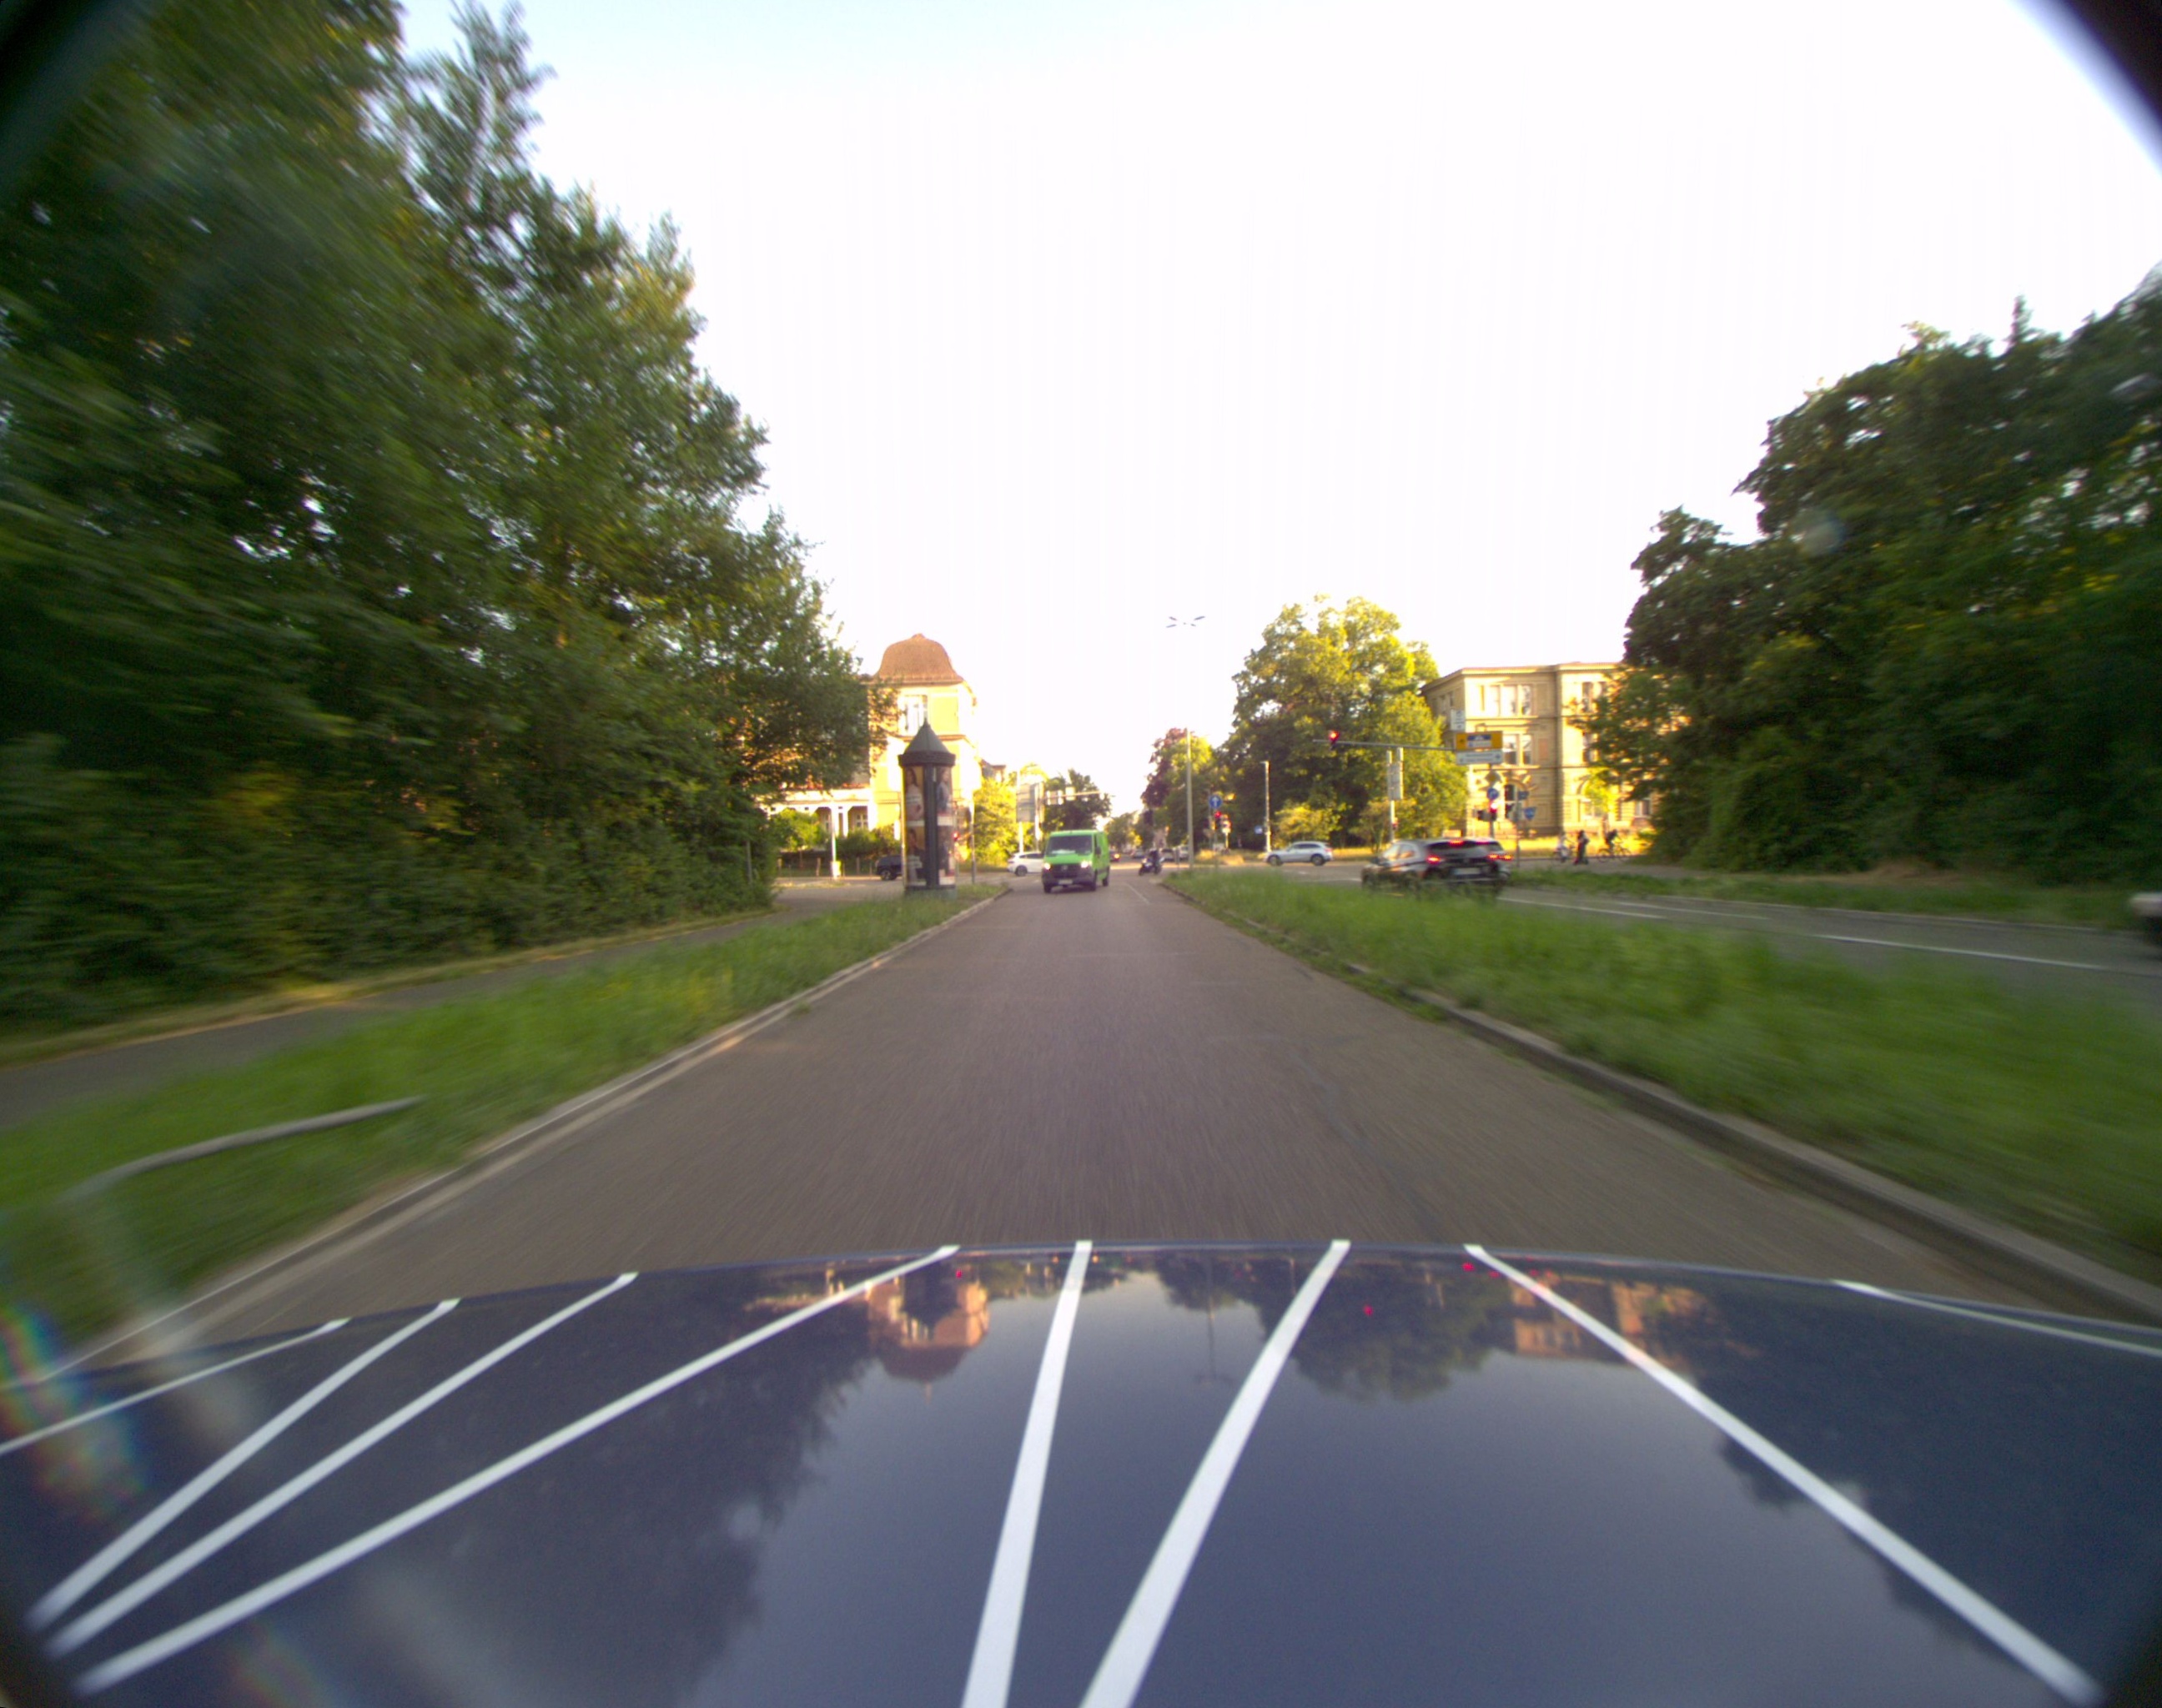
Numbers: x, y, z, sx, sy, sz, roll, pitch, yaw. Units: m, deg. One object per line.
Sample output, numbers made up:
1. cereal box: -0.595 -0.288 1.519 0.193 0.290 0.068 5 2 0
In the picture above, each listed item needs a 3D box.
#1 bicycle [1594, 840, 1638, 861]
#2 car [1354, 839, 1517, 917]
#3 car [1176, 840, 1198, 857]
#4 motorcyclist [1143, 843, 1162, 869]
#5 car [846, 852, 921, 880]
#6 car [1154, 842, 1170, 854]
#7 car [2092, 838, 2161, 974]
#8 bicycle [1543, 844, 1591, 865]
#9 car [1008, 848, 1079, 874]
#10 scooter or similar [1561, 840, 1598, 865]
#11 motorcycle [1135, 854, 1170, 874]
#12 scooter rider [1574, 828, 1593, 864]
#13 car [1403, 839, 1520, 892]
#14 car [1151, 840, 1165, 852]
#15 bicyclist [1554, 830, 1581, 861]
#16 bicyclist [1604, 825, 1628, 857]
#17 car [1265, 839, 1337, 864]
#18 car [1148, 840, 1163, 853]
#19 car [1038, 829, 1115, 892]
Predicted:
1. bicycle: 28.279 -0.186 40.196 1.824 1.057 0.700 -2 2 0
2. car: 8.173 0.469 18.046 1.818 1.618 4.450 0 1 0
3. car: 12.143 -0.676 87.514 1.861 1.835 4.120 -2 1 0
4. motorcyclist: 3.836 0.095 40.853 0.705 1.350 0.750 -2 1 -43
5. car: -11.704 0.688 45.235 3.997 1.527 1.683 -2 1 -1
6. car: 11.539 -0.895 108.632 1.936 1.633 4.000 -1 1 2
7. car: 12.602 0.581 6.660 1.827 1.471 4.232 0 1 0
8. bicycle: 24.256 0.012 37.950 2.016 1.001 0.772 -2 2 -10
9. car: -2.318 0.416 46.585 4.188 1.457 1.756 -2 1 -8
10. scooter or similar: 24.155 -0.082 36.812 1.421 1.182 0.563 -1 1 1
11. motorcycle: 3.865 0.528 40.879 1.882 0.995 0.754 -2 1 -42
12. scooter rider: 24.336 -0.385 36.800 0.504 1.756 0.567 -1 1 2
13. car: 12.597 0.323 25.533 1.826 1.604 4.641 1 1 3
14. car: 12.372 -1.265 122.152 1.798 1.718 3.999 -1 2 2
15. bicyclist: 24.298 -0.439 37.951 0.857 1.509 0.761 -2 2 -10
16. bicyclist: 28.281 -0.708 40.179 0.798 1.658 0.700 -2 2 0
17. car: 15.157 -0.162 52.327 4.501 1.626 1.773 -1 1 24
18. car: 12.493 -1.324 127.609 1.998 2.003 3.998 -1 2 1
19. car: -0.034 0.213 30.401 2.042 2.265 5.945 -1 1 9
